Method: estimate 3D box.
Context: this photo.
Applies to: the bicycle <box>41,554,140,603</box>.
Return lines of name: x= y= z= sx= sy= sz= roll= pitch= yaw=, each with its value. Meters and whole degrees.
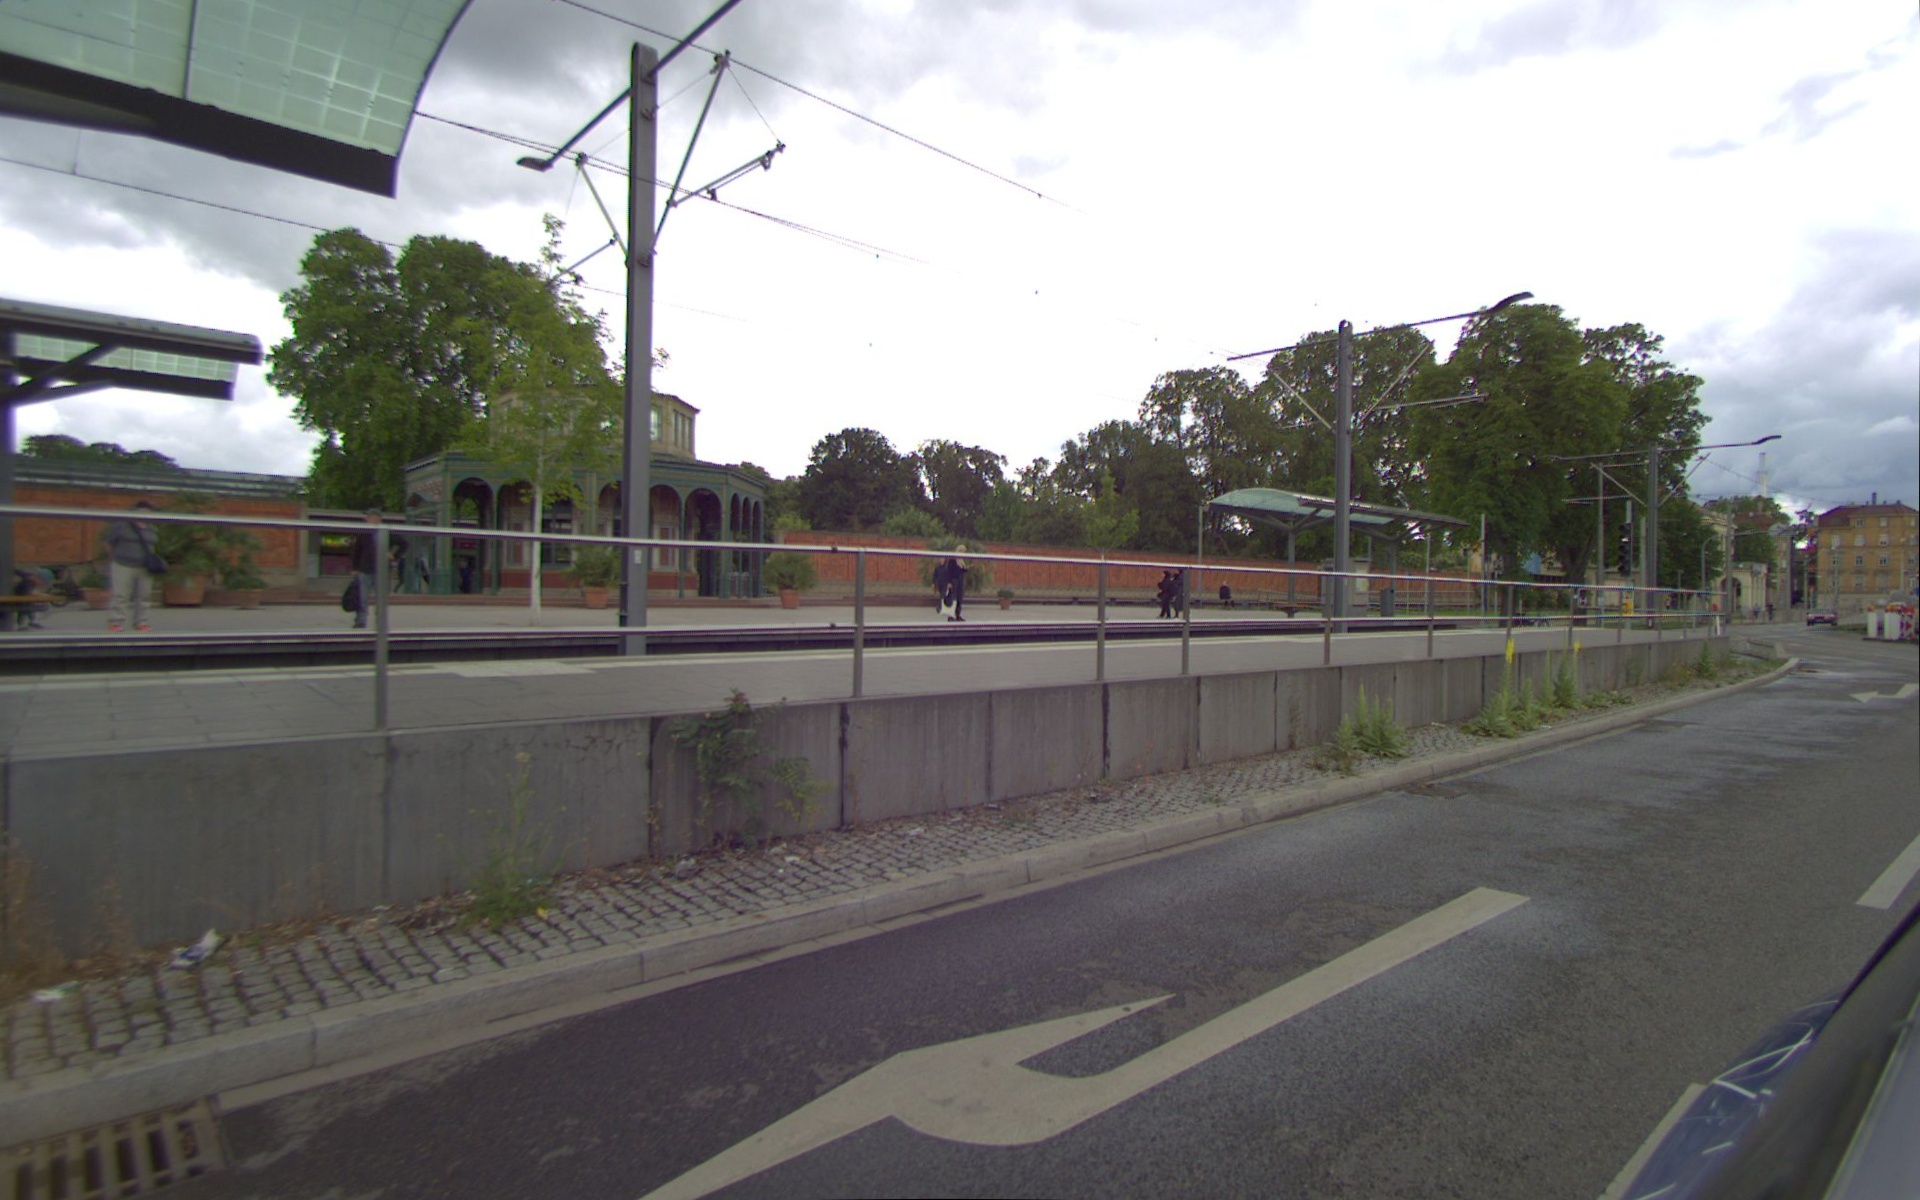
bicycle: x=-20.082 y=-0.480 z=23.420 sx=0.556 sy=1.075 sz=1.705 roll=-2 pitch=-1 yaw=18

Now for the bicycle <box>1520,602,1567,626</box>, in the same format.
bicycle: x=30.139 y=0.720 z=52.324 sx=0.727 sy=1.172 sz=1.997 roll=0 pitch=1 yaw=-36

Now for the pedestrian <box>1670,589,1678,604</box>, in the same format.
pedestrian: x=82.390 y=-0.407 z=116.802 sx=0.795 sy=1.815 sz=0.596 roll=0 pitch=0 yaw=-42

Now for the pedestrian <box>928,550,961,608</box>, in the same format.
pedestrian: x=-0.511 y=-0.681 z=33.164 sx=0.547 sy=1.861 sz=0.938 roll=-2 pitch=-2 yaw=42

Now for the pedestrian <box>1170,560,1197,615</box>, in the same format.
pedestrian: x=6.998 y=-0.382 z=31.714 sx=0.616 sy=1.682 sz=0.487 roll=0 pitch=-2 yaw=-33

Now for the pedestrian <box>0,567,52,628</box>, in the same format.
pedestrian: x=-11.751 y=-0.027 z=12.719 sx=0.416 sy=0.750 sz=0.563 roll=0 pitch=-1 yaw=-32

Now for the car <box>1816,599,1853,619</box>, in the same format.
car: x=68.546 y=0.705 z=79.322 sx=4.049 sy=1.461 sz=1.678 roll=0 pitch=-2 yaw=-43

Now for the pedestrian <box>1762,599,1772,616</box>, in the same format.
pedestrian: x=86.249 y=0.765 z=108.113 sx=0.921 sy=1.790 sz=0.671 roll=0 pitch=0 yaw=-42

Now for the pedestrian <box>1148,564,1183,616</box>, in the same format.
pedestrian: x=6.609 y=-0.322 z=32.581 sx=0.757 sy=1.621 sz=0.742 roll=0 pitch=-2 yaw=-33

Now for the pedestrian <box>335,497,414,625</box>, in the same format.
pedestrian: x=-8.793 y=-0.561 z=15.199 sx=0.933 sy=1.862 sz=0.634 roll=0 pitch=-2 yaw=-40

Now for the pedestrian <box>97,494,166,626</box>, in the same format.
pedestrian: x=-10.593 y=-0.495 z=12.949 sx=0.664 sy=1.641 sz=0.525 roll=0 pitch=-2 yaw=-40

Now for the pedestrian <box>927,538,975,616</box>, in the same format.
pedestrian: x=-0.195 y=-0.505 z=22.833 sx=0.851 sy=1.709 sz=0.633 roll=0 pitch=-2 yaw=-42
